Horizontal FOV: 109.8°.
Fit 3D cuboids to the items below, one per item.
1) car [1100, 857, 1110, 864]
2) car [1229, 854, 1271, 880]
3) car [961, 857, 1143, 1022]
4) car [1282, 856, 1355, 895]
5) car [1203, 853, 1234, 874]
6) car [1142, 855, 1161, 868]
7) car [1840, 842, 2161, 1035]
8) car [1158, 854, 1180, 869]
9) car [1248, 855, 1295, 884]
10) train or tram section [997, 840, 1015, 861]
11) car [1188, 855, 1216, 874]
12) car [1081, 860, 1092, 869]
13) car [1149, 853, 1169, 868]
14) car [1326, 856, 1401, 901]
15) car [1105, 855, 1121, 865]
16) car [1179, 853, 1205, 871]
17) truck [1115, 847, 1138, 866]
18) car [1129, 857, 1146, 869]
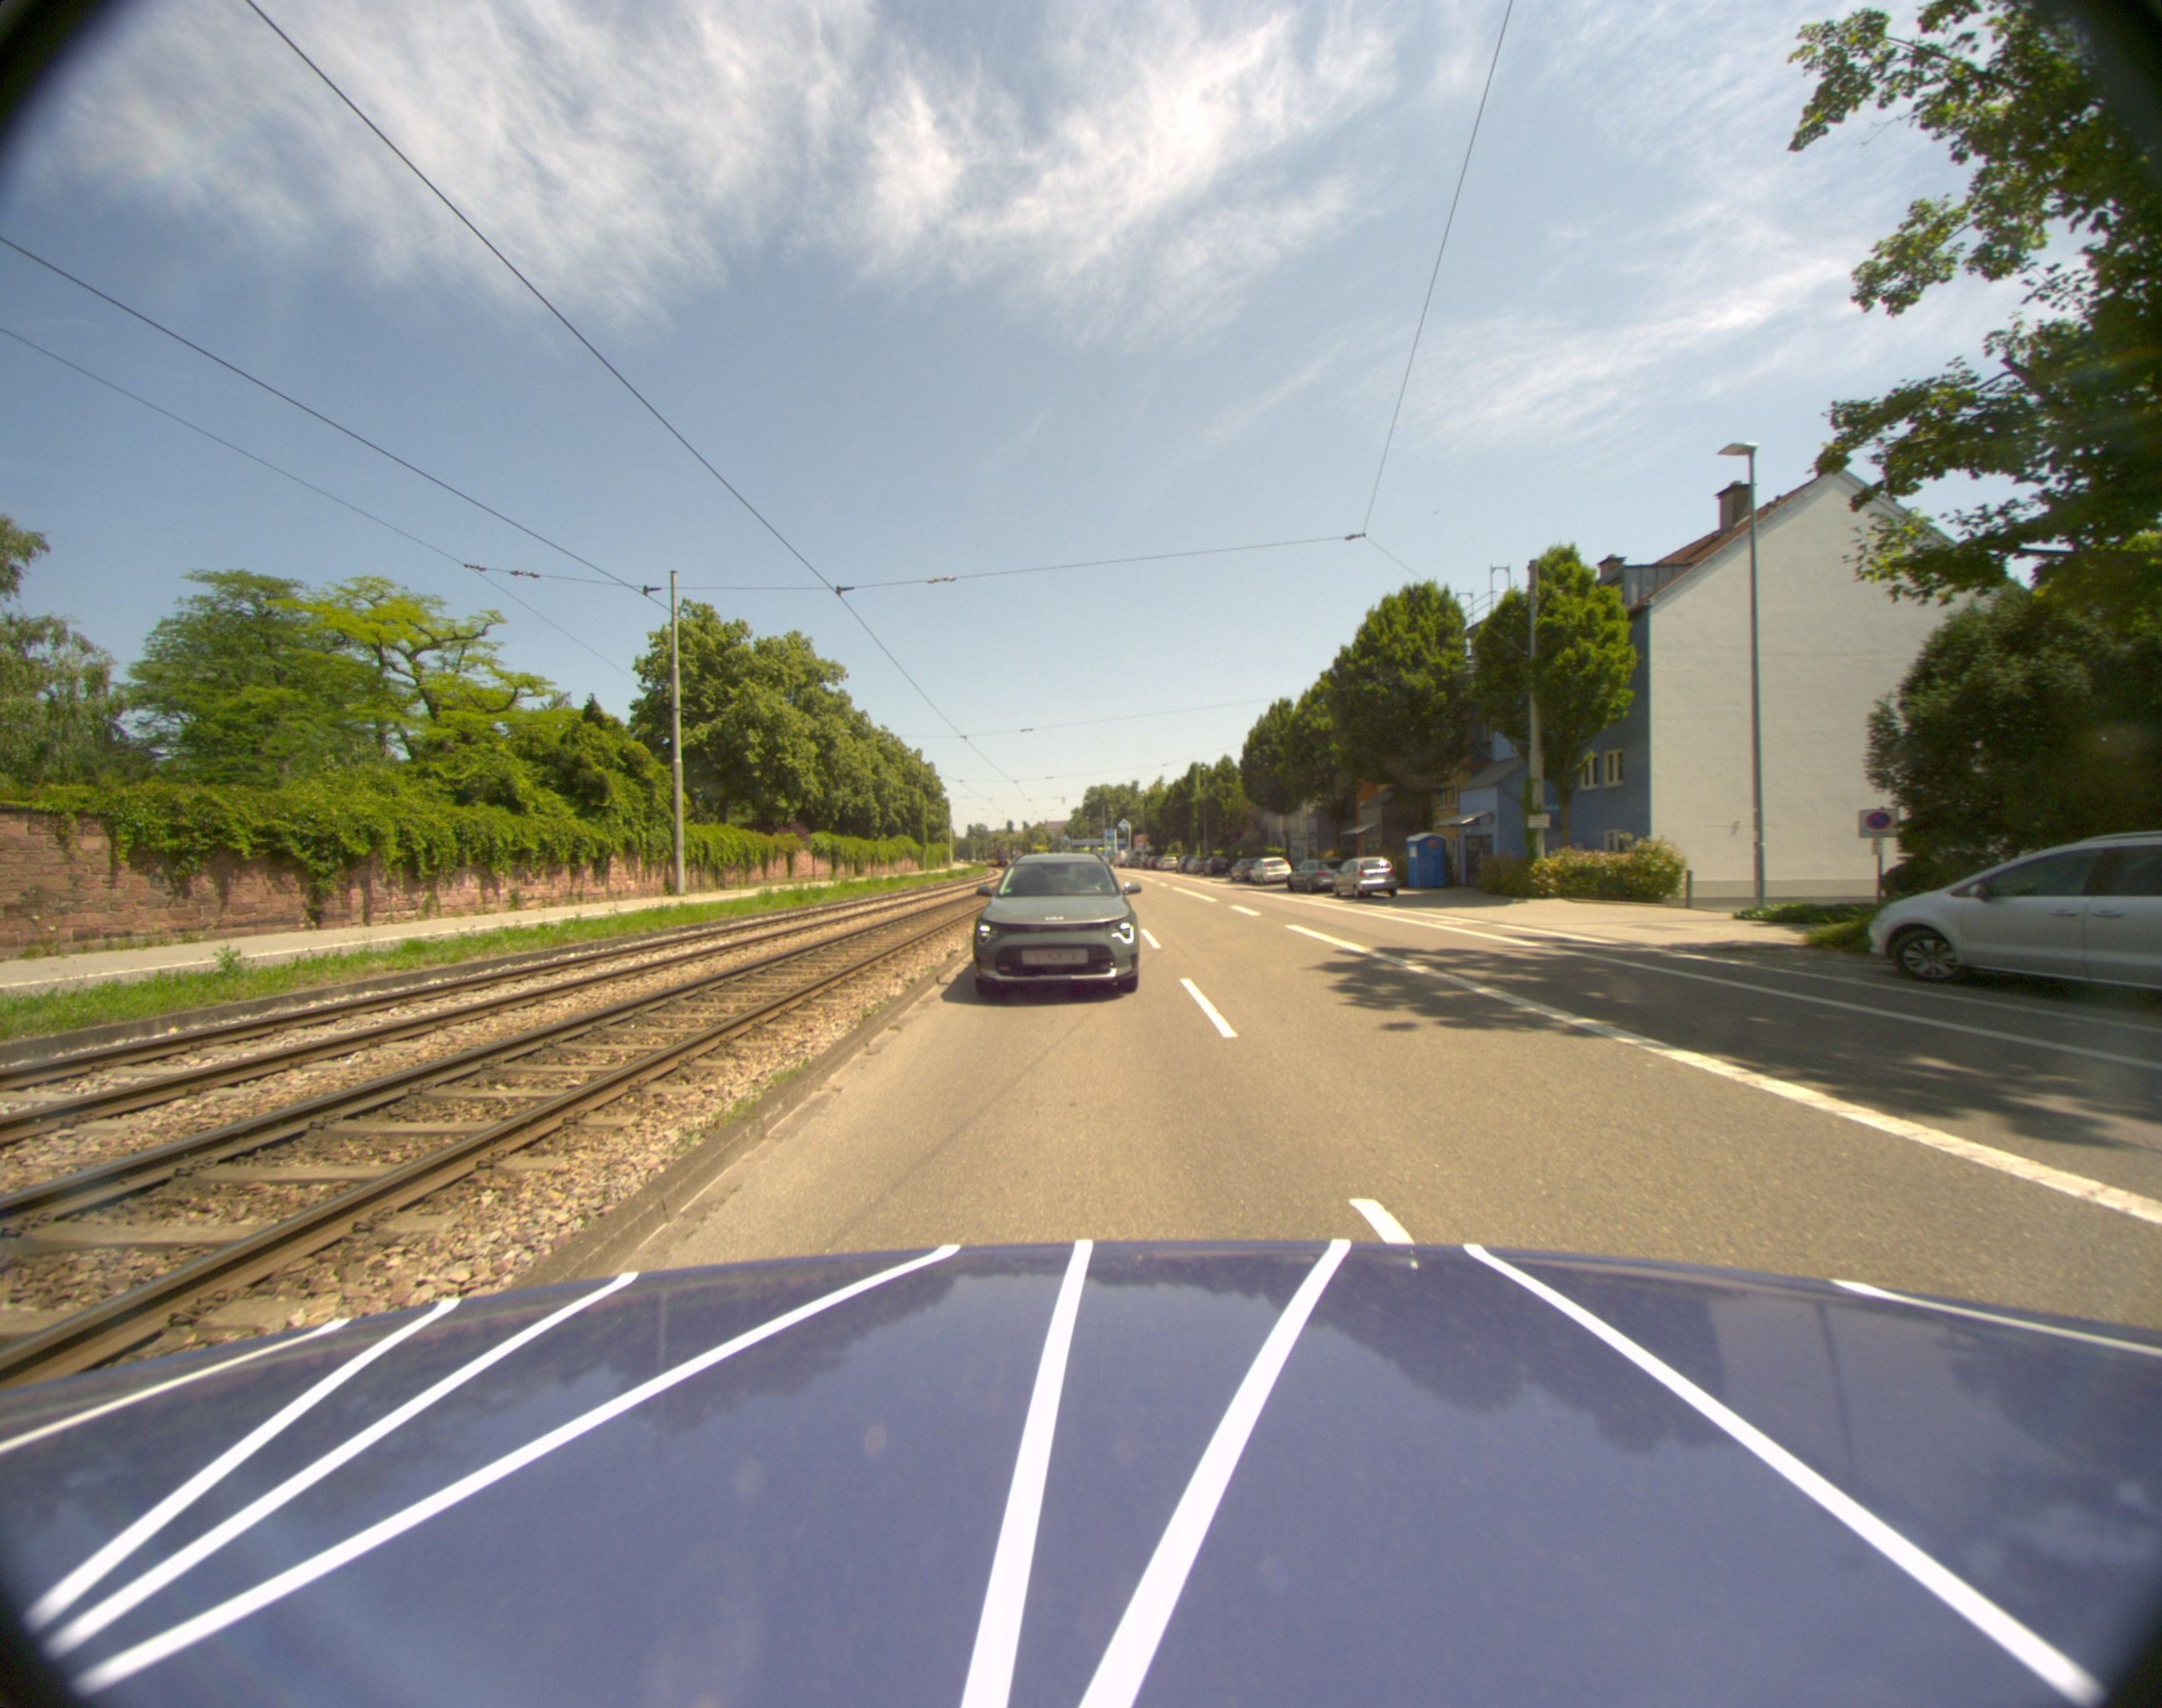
[{"bbox_3d":[5.015,1.313,160.340,1.865,1.487,3.469,0,0,-2],"label":"car"},{"bbox_3d":[11.028,0.827,49.853,1.656,1.487,4.082,-4,0,-1],"label":"car"},{"bbox_3d":[-0.287,0.856,9.760,1.759,1.574,4.427,-2,0,0],"label":"car"},{"bbox_3d":[10.681,0.908,34.477,1.680,1.487,4.638,-4,0,-1],"label":"car"},{"bbox_3d":[11.012,0.744,61.076,1.656,1.487,4.082,-4,0,-1],"label":"car"},{"bbox_3d":[8.741,0.940,94.064,1.865,1.487,3.470,-4,0,-1],"label":"car"},{"bbox_3d":[10.636,0.746,7.347,1.976,1.679,4.688,-2,0,2],"label":"car"},{"bbox_3d":[9.630,0.762,83.363,1.723,1.487,4.082,-4,0,-1],"label":"car"},{"bbox_3d":[11.033,0.891,44.298,1.656,1.487,3.649,-4,0,-1],"label":"car"},{"bbox_3d":[-14.545,-0.722,147.683,2.814,3.785,14.255,-2,1,-3],"label":"train or tram section"},{"bbox_3d":[10.476,0.866,66.006,1.656,1.487,4.082,-4,0,-1],"label":"car"},{"bbox_3d":[1.085,2.045,145.647,1.865,1.487,3.470,-4,0,-1],"label":"car"},{"bbox_3d":[9.110,0.744,89.290,1.865,1.487,3.470,-4,0,-1],"label":"car"},{"bbox_3d":[10.803,0.898,29.274,1.505,1.487,3.281,-5,0,-1],"label":"car"},{"bbox_3d":[5.056,0.928,120.875,1.866,1.487,3.468,-4,0,-9],"label":"car"},{"bbox_3d":[10.480,0.730,71.811,1.656,1.578,4.082,-4,0,-1],"label":"car"},{"bbox_3d":[6.552,0.406,109.017,2.135,2.565,4.860,-4,0,-9],"label":"truck"},{"bbox_3d":[7.679,1.245,102.982,1.865,1.487,3.470,-4,0,-1],"label":"car"}]
